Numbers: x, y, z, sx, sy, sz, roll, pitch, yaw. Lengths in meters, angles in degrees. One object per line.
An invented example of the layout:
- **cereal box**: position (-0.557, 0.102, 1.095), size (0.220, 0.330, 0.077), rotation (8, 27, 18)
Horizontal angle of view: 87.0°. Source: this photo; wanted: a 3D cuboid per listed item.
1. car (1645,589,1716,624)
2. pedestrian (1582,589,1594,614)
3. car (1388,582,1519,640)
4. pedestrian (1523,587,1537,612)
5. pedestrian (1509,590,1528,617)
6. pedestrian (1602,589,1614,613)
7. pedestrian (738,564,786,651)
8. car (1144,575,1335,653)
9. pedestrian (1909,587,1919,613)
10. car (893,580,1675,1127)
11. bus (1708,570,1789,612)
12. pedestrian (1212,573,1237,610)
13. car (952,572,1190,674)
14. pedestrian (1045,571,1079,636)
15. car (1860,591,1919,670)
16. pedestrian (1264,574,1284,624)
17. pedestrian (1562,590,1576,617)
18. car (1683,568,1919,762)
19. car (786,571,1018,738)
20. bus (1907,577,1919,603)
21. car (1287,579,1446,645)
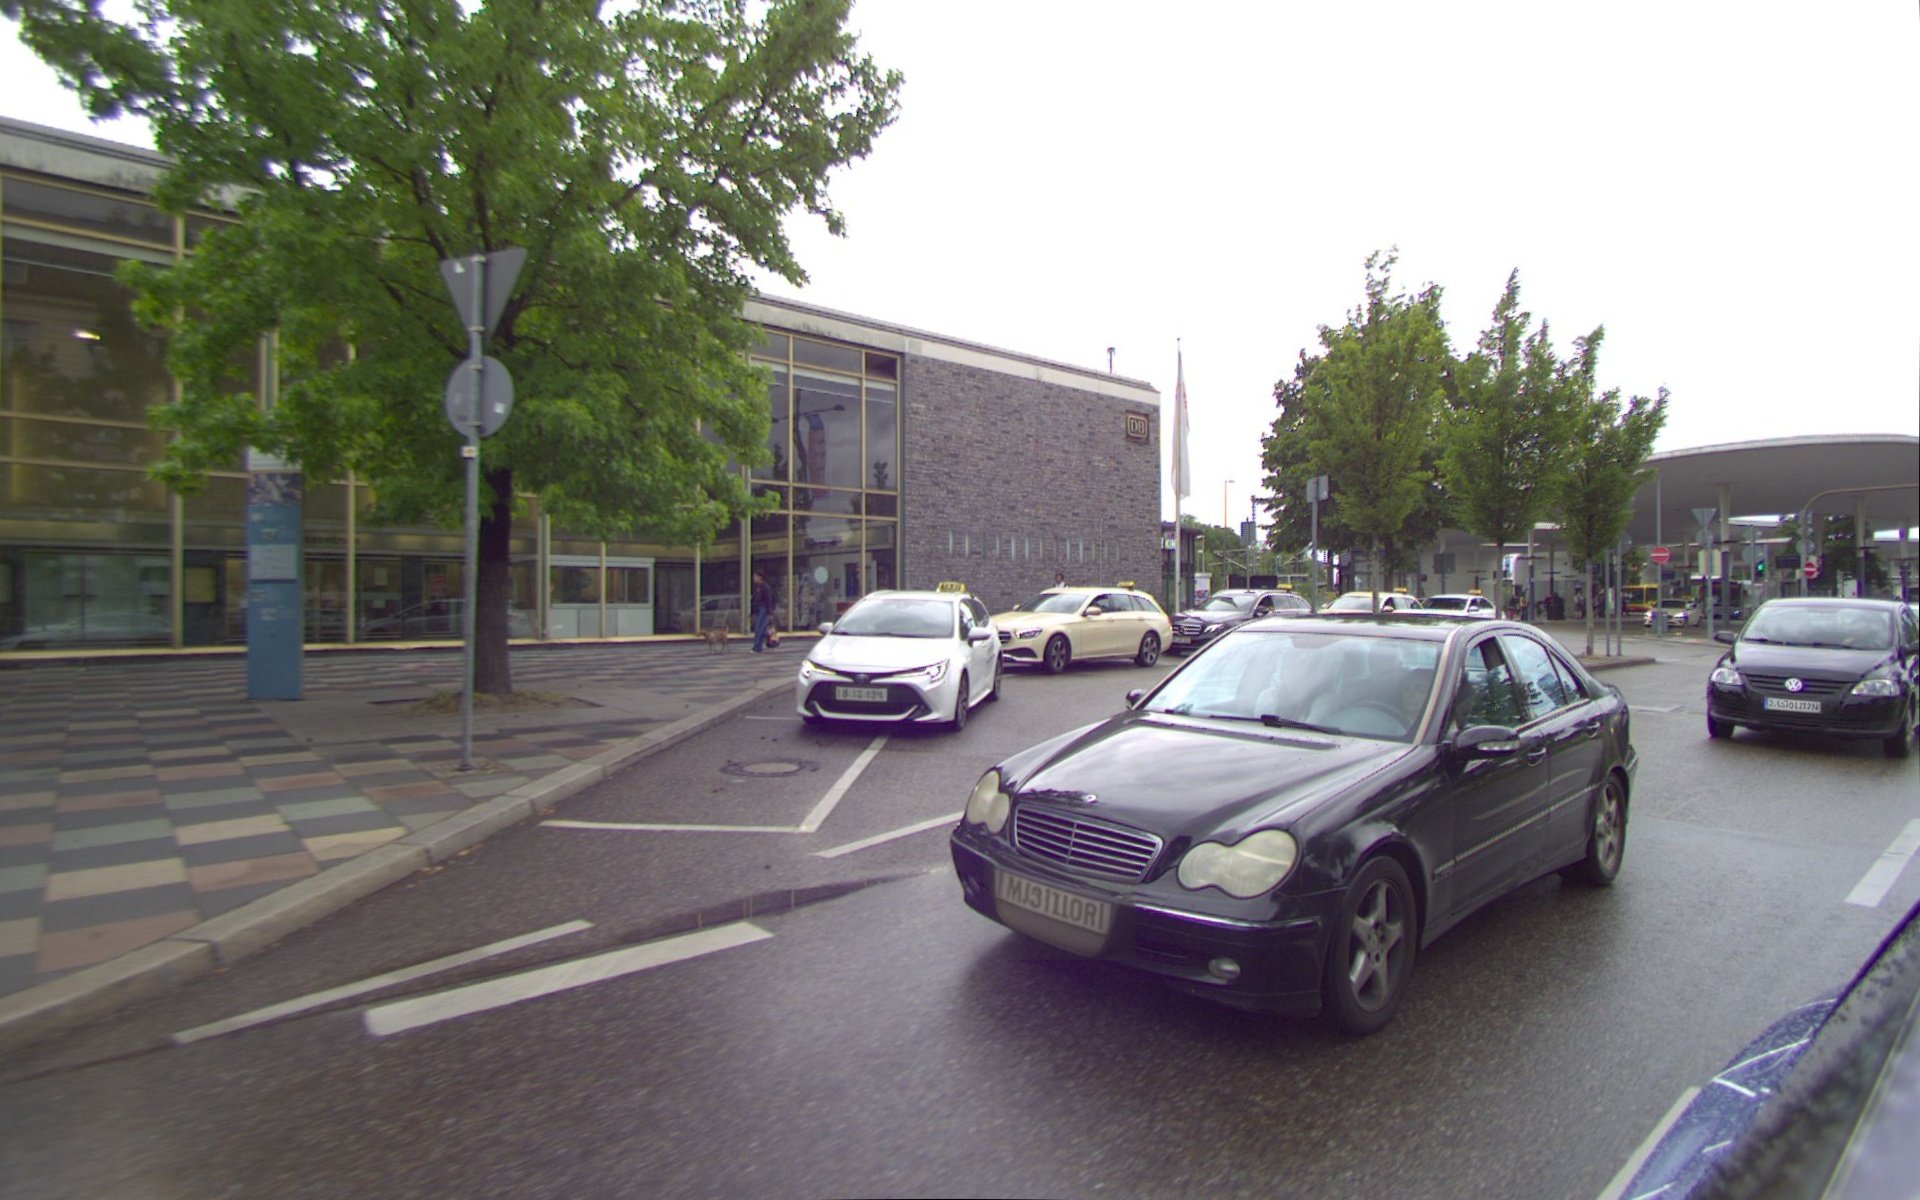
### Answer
- **car**: position (37.876, 0.313, 53.191), size (4.462, 1.702, 1.998), rotation (-1, 2, -41)
- **pedestrian**: position (38.800, 0.077, 62.544), size (0.525, 1.533, 0.479), rotation (0, 1, -37)
- **car**: position (15.413, 0.298, 31.504), size (4.816, 1.619, 1.884), rotation (-1, 2, -40)
- **pedestrian**: position (34.724, -0.037, 61.657), size (0.469, 1.533, 0.536), rotation (1, 1, -6)
- **pedestrian**: position (33.134, 0.209, 60.070), size (0.725, 1.615, 0.643), rotation (0, 2, -26)
- **pedestrian**: position (41.695, 0.046, 65.122), size (0.525, 1.533, 0.479), rotation (0, 1, -37)
- **pedestrian**: position (-3.868, 0.133, 19.796), size (0.710, 1.646, 0.796), rotation (1, 2, 5)
- **car**: position (6.590, 0.280, 23.570), size (4.873, 1.619, 1.996), rotation (0, 0, -42)
- **pedestrian**: position (65.799, 0.018, 69.708), size (0.442, 1.786, 0.532), rotation (1, 1, 26)
- **car**: position (1.908, 0.675, 4.934), size (4.377, 1.483, 1.697), rotation (-1, 3, -43)
- **bus**: position (63.772, -0.701, 81.675), size (11.712, 3.120, 2.875), rotation (0, 2, -41)
- **pedestrian**: position (11.527, -0.379, 44.114), size (0.769, 1.599, 0.699), rotation (3, 2, 45)
- **car**: position (2.229, 0.346, 19.040), size (1.992, 1.619, 4.884), rotation (3, 2, 41)
- **pedestrian**: position (2.737, 0.076, 27.023), size (0.640, 1.688, 0.770), rotation (1, 1, 28)
- **car**: position (21.175, 0.625, 22.024), size (3.978, 1.578, 1.810), rotation (0, 2, -40)
- **pedestrian**: position (13.753, -0.055, 44.356), size (0.787, 2.191, 0.718), rotation (2, 2, 19)
- **pedestrian**: position (35.364, 0.213, 58.733), size (0.470, 1.533, 0.535), rotation (0, 1, -36)
- **car**: position (9.705, 0.566, 11.200), size (4.086, 1.723, 1.874), rotation (0, 3, -42)
- **car**: position (-0.444, 0.452, 12.099), size (1.735, 1.565, 4.764), rotation (1, 1, 10)
- **bus**: position (119.326, -1.173, 124.441), size (3.569, 3.137, 10.597), rotation (2, 1, 40)
- **car**: position (11.220, 0.288, 27.780), size (4.871, 1.619, 1.998), rotation (0, 2, -40)
